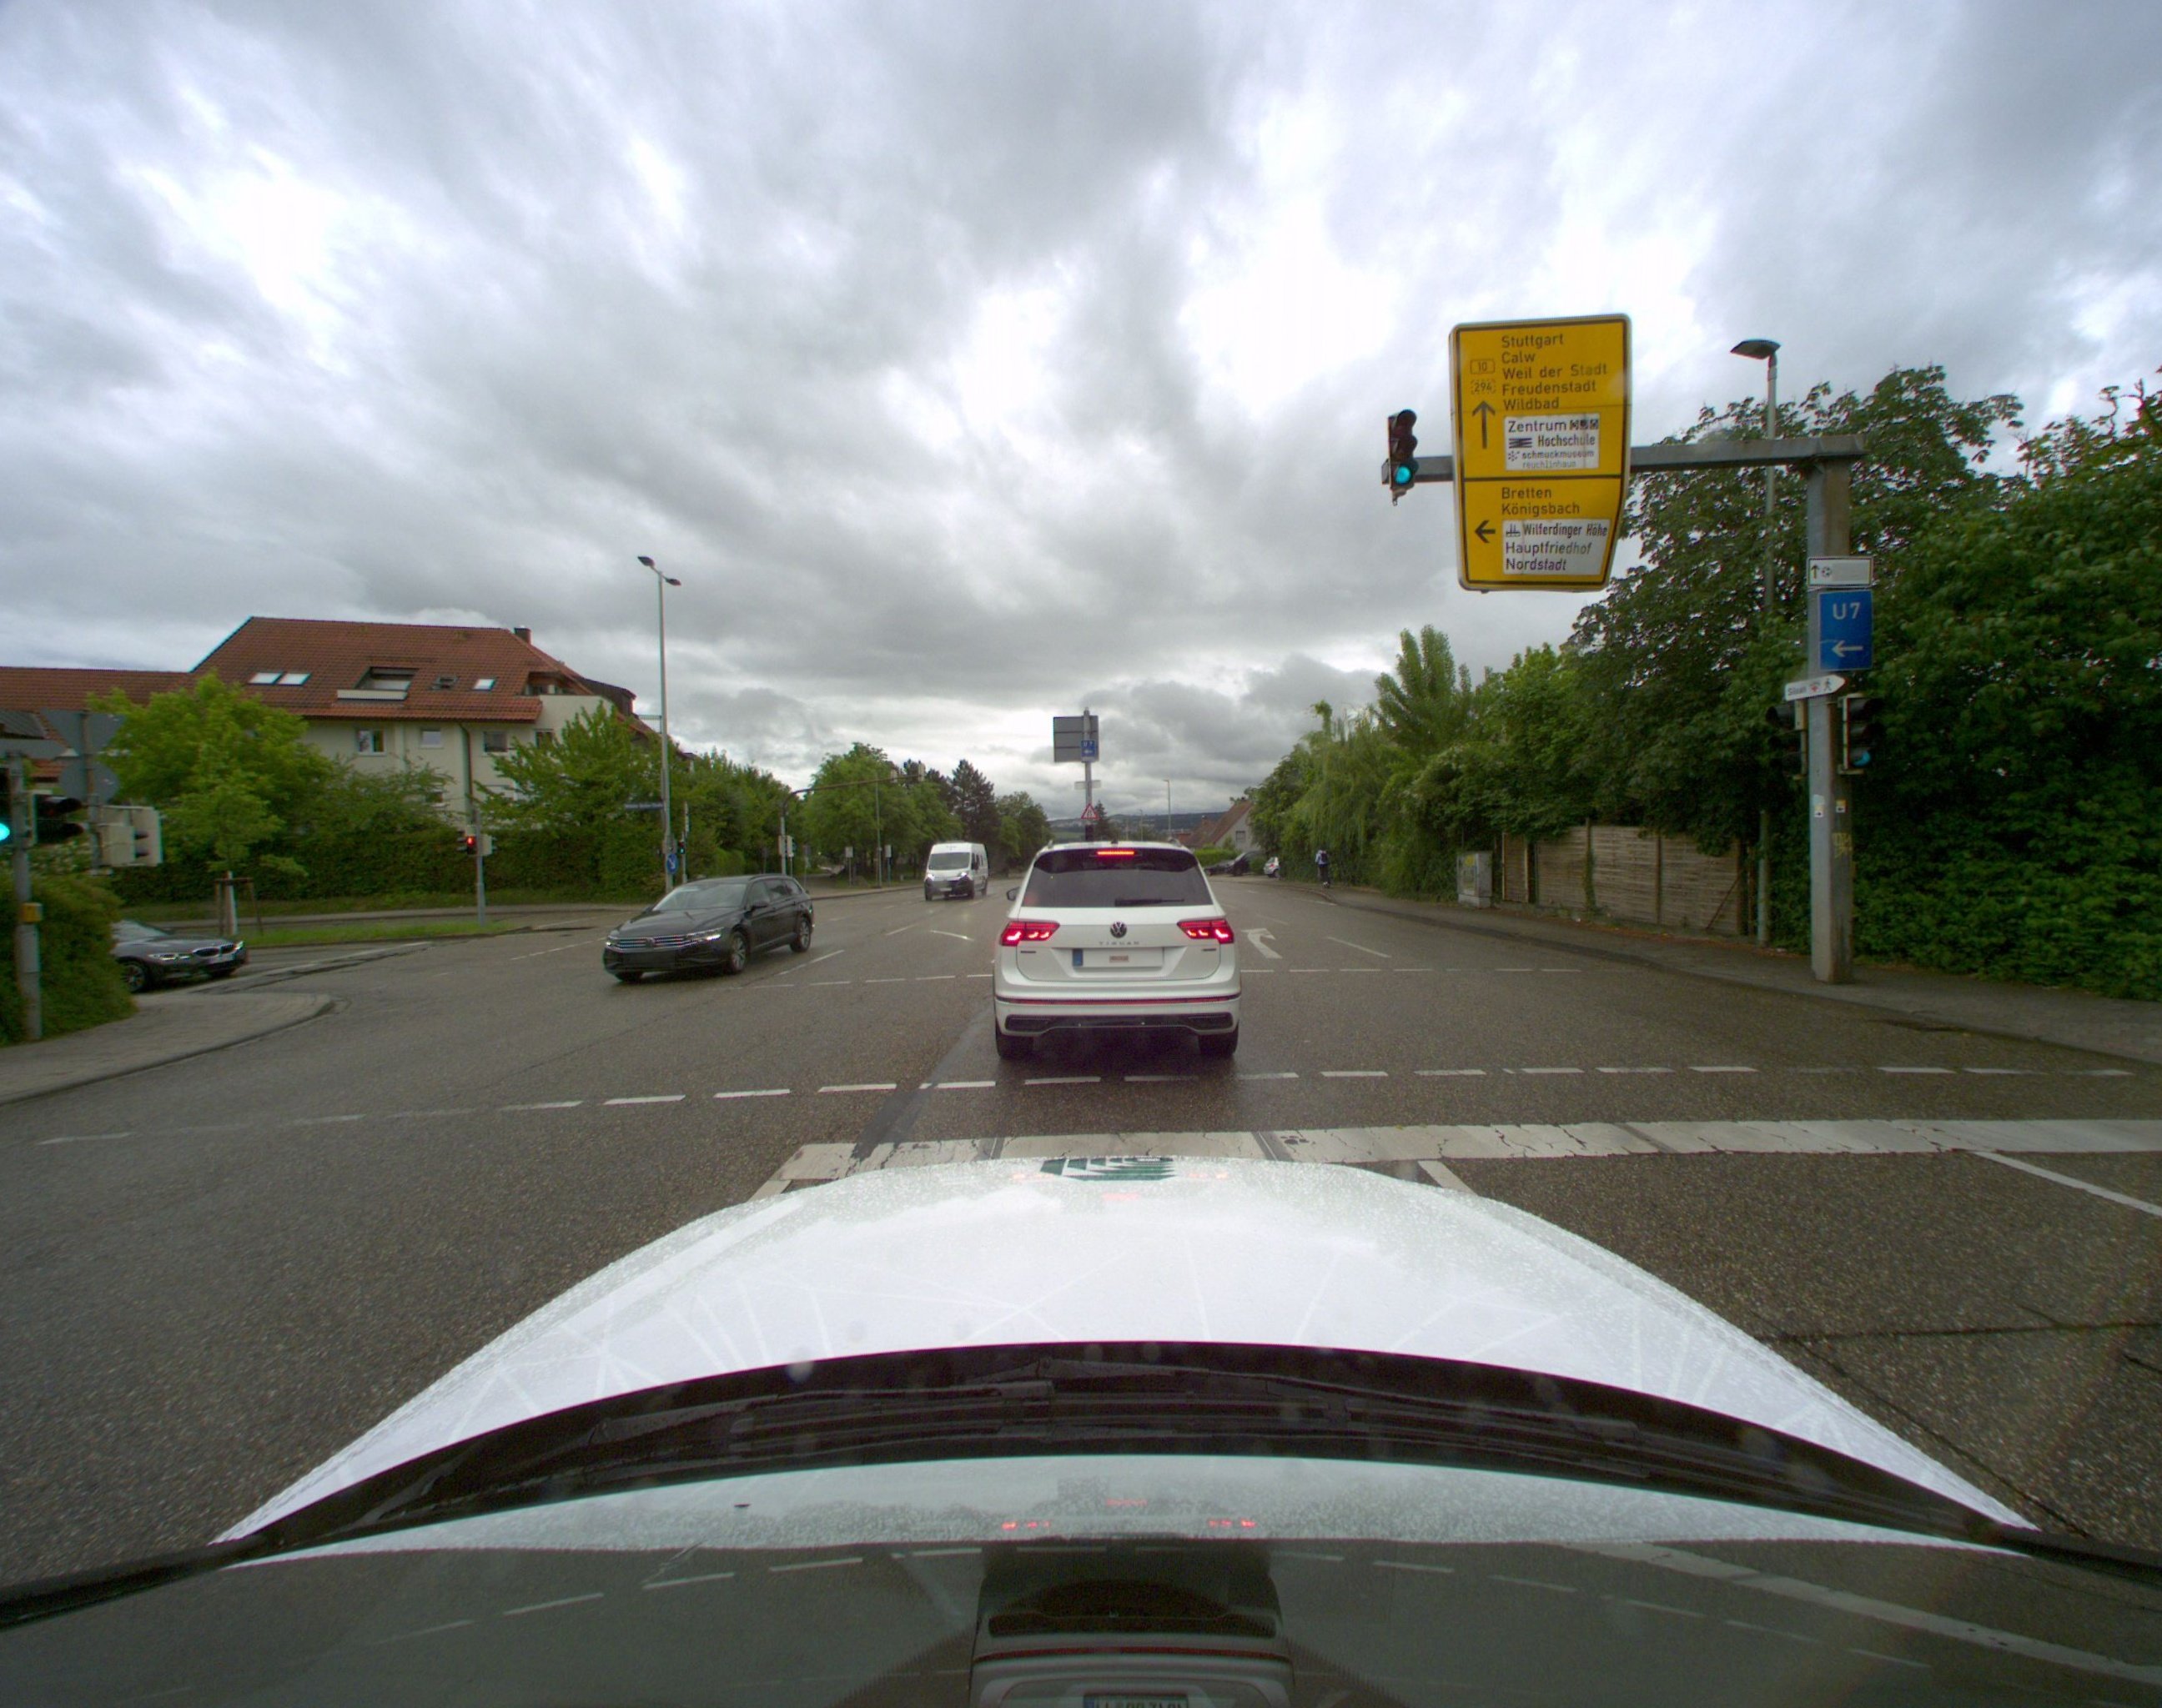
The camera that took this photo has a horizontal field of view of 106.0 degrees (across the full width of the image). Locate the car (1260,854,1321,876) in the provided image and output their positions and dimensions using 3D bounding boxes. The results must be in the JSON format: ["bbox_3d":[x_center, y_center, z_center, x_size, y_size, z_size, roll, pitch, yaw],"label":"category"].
[{"bbox_3d":[14.470,0.761,56.289,3.709,1.395,1.725,-2,-2,-6],"label":"car"}]

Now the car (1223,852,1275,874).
[{"bbox_3d":[13.207,0.674,64.179,3.618,1.626,1.790,-1,0,-3],"label":"car"}]

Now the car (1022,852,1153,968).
[{"bbox_3d":[0.165,0.777,13.245,1.791,1.589,3.928,-1,0,2],"label":"car"}]

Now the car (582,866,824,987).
[{"bbox_3d":[-5.943,1.040,13.510,1.770,1.502,4.472,-4,0,1],"label":"car"}]

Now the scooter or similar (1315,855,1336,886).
[{"bbox_3d":[11.029,0.752,36.767,0.460,1.361,1.384,-1,0,-2],"label":"scooter or similar"}]

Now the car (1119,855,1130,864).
[{"bbox_3d":[7.820,0.943,145.773,1.843,1.574,4.002,-2,0,2],"label":"car"}]

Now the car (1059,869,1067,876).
[{"bbox_3d":[-5.152,5.289,234.750,1.986,1.728,4.001,0,0,2],"label":"car"}]

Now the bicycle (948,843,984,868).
[{"bbox_3d":[-5.661,0.089,40.052,1.631,1.126,0.468,-3,0,0],"label":"bicycle"}]

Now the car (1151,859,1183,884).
[{"bbox_3d":[5.115,1.019,48.692,1.619,1.403,3.690,0,0,1],"label":"car"}]

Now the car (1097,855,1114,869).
[{"bbox_3d":[2.636,0.855,88.202,1.730,1.575,4.067,0,0,0],"label":"car"}]

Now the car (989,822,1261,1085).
[{"bbox_3d":[0.330,0.650,7.450,1.756,1.696,4.273,1,0,1],"label":"car"}]

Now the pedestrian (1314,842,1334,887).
[{"bbox_3d":[10.996,0.473,36.839,0.654,2.002,0.717,-1,-1,-2],"label":"pedestrian"}]

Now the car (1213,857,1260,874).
[{"bbox_3d":[13.165,0.997,68.906,3.675,1.370,1.518,-1,-2,0],"label":"car"}]

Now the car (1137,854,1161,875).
[{"bbox_3d":[5.160,0.782,62.160,1.658,1.427,4.307,-2,0,2],"label":"car"}]

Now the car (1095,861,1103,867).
[{"bbox_3d":[4.426,2.444,201.278,1.843,1.574,4.002,-2,0,2],"label":"car"}]

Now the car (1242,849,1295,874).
[{"bbox_3d":[14.178,0.542,61.717,3.618,1.746,1.707,-2,1,-2],"label":"car"}]

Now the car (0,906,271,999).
[{"bbox_3d":[-19.916,2.013,16.731,4.413,1.392,1.774,-4,2,-5],"label":"car"}]

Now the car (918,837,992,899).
[{"bbox_3d":[-5.593,0.596,36.920,2.289,2.528,5.774,-2,0,1],"label":"car"}]
